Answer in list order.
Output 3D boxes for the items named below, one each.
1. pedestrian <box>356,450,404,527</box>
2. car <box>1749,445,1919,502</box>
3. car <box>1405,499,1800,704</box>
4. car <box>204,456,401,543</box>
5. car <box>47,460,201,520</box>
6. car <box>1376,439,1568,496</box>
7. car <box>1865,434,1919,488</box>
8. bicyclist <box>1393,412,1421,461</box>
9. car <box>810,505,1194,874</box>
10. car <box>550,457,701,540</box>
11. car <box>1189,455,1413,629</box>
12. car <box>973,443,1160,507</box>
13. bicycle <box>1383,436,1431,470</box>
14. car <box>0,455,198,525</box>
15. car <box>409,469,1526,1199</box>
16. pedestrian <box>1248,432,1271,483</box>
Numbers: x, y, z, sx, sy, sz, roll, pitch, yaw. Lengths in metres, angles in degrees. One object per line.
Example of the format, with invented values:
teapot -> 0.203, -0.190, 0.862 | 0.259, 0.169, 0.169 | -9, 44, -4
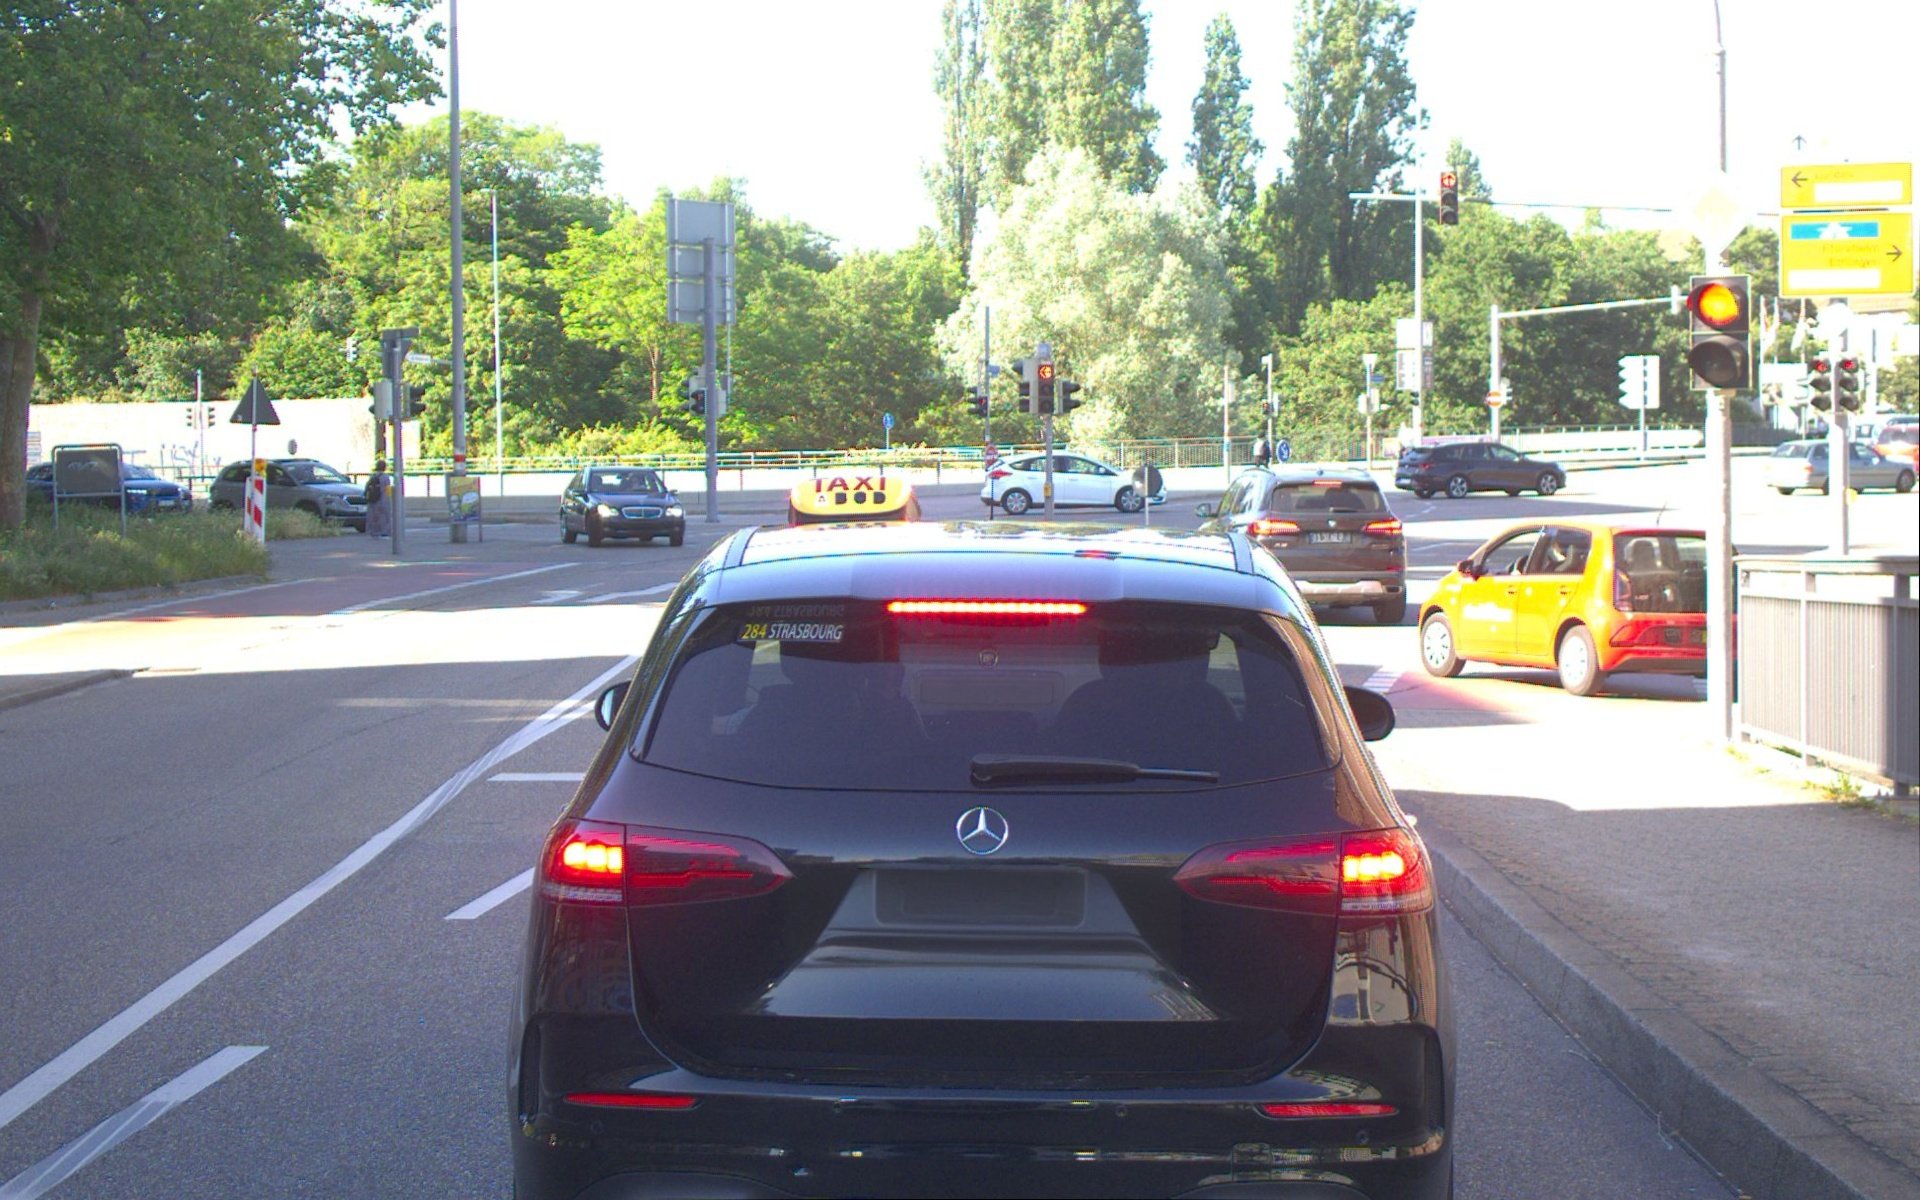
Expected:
pedestrian -> -11.467, -2.203, 67.983 | 0.705, 1.520, 0.743 | 1, 2, 10
car -> 22.309, -3.225, 87.207 | 4.581, 1.290, 2.000 | -4, 4, -37
car -> 5.423, -0.040, 29.438 | 1.721, 1.516, 3.487 | 0, 4, -21
car -> -14.087, -2.168, 73.600 | 3.995, 1.617, 1.806 | 5, 5, 34
car -> -22.199, -2.904, 91.238 | 3.996, 1.542, 1.887 | 1, 1, 38
car -> 13.158, -3.421, 88.352 | 4.579, 1.290, 1.887 | -3, 4, -25
car -> 27.844, -4.004, 98.455 | 1.998, 1.450, 4.542 | 1, 4, 39
bicyclist -> 14.307, -5.228, 110.026 | 0.527, 1.545, 0.805 | 0, 3, 40
car -> 0.233, 0.345, 16.720 | 1.640, 1.524, 3.474 | -1, 2, 2
car -> -6.140, -1.879, 62.784 | 1.741, 1.402, 4.202 | -2, 3, -20
car -> 3.923, -0.727, 40.224 | 1.721, 1.805, 4.299 | 1, 3, -6
car -> 2.466, -2.937, 80.491 | 4.300, 1.360, 2.000 | -1, 3, 0
bicycle -> 14.310, -4.718, 110.057 | 0.527, 1.046, 1.985 | 0, 3, 40
car -> -20.555, -2.640, 82.046 | 4.395, 1.586, 1.920 | 1, 4, 27
car -> -0.014, 0.540, 7.834 | 1.878, 1.608, 4.000 | 1, 2, -1
pedestrian -> 9.307, -4.422, 106.845 | 0.451, 1.580, 0.500 | 1, 3, 40
